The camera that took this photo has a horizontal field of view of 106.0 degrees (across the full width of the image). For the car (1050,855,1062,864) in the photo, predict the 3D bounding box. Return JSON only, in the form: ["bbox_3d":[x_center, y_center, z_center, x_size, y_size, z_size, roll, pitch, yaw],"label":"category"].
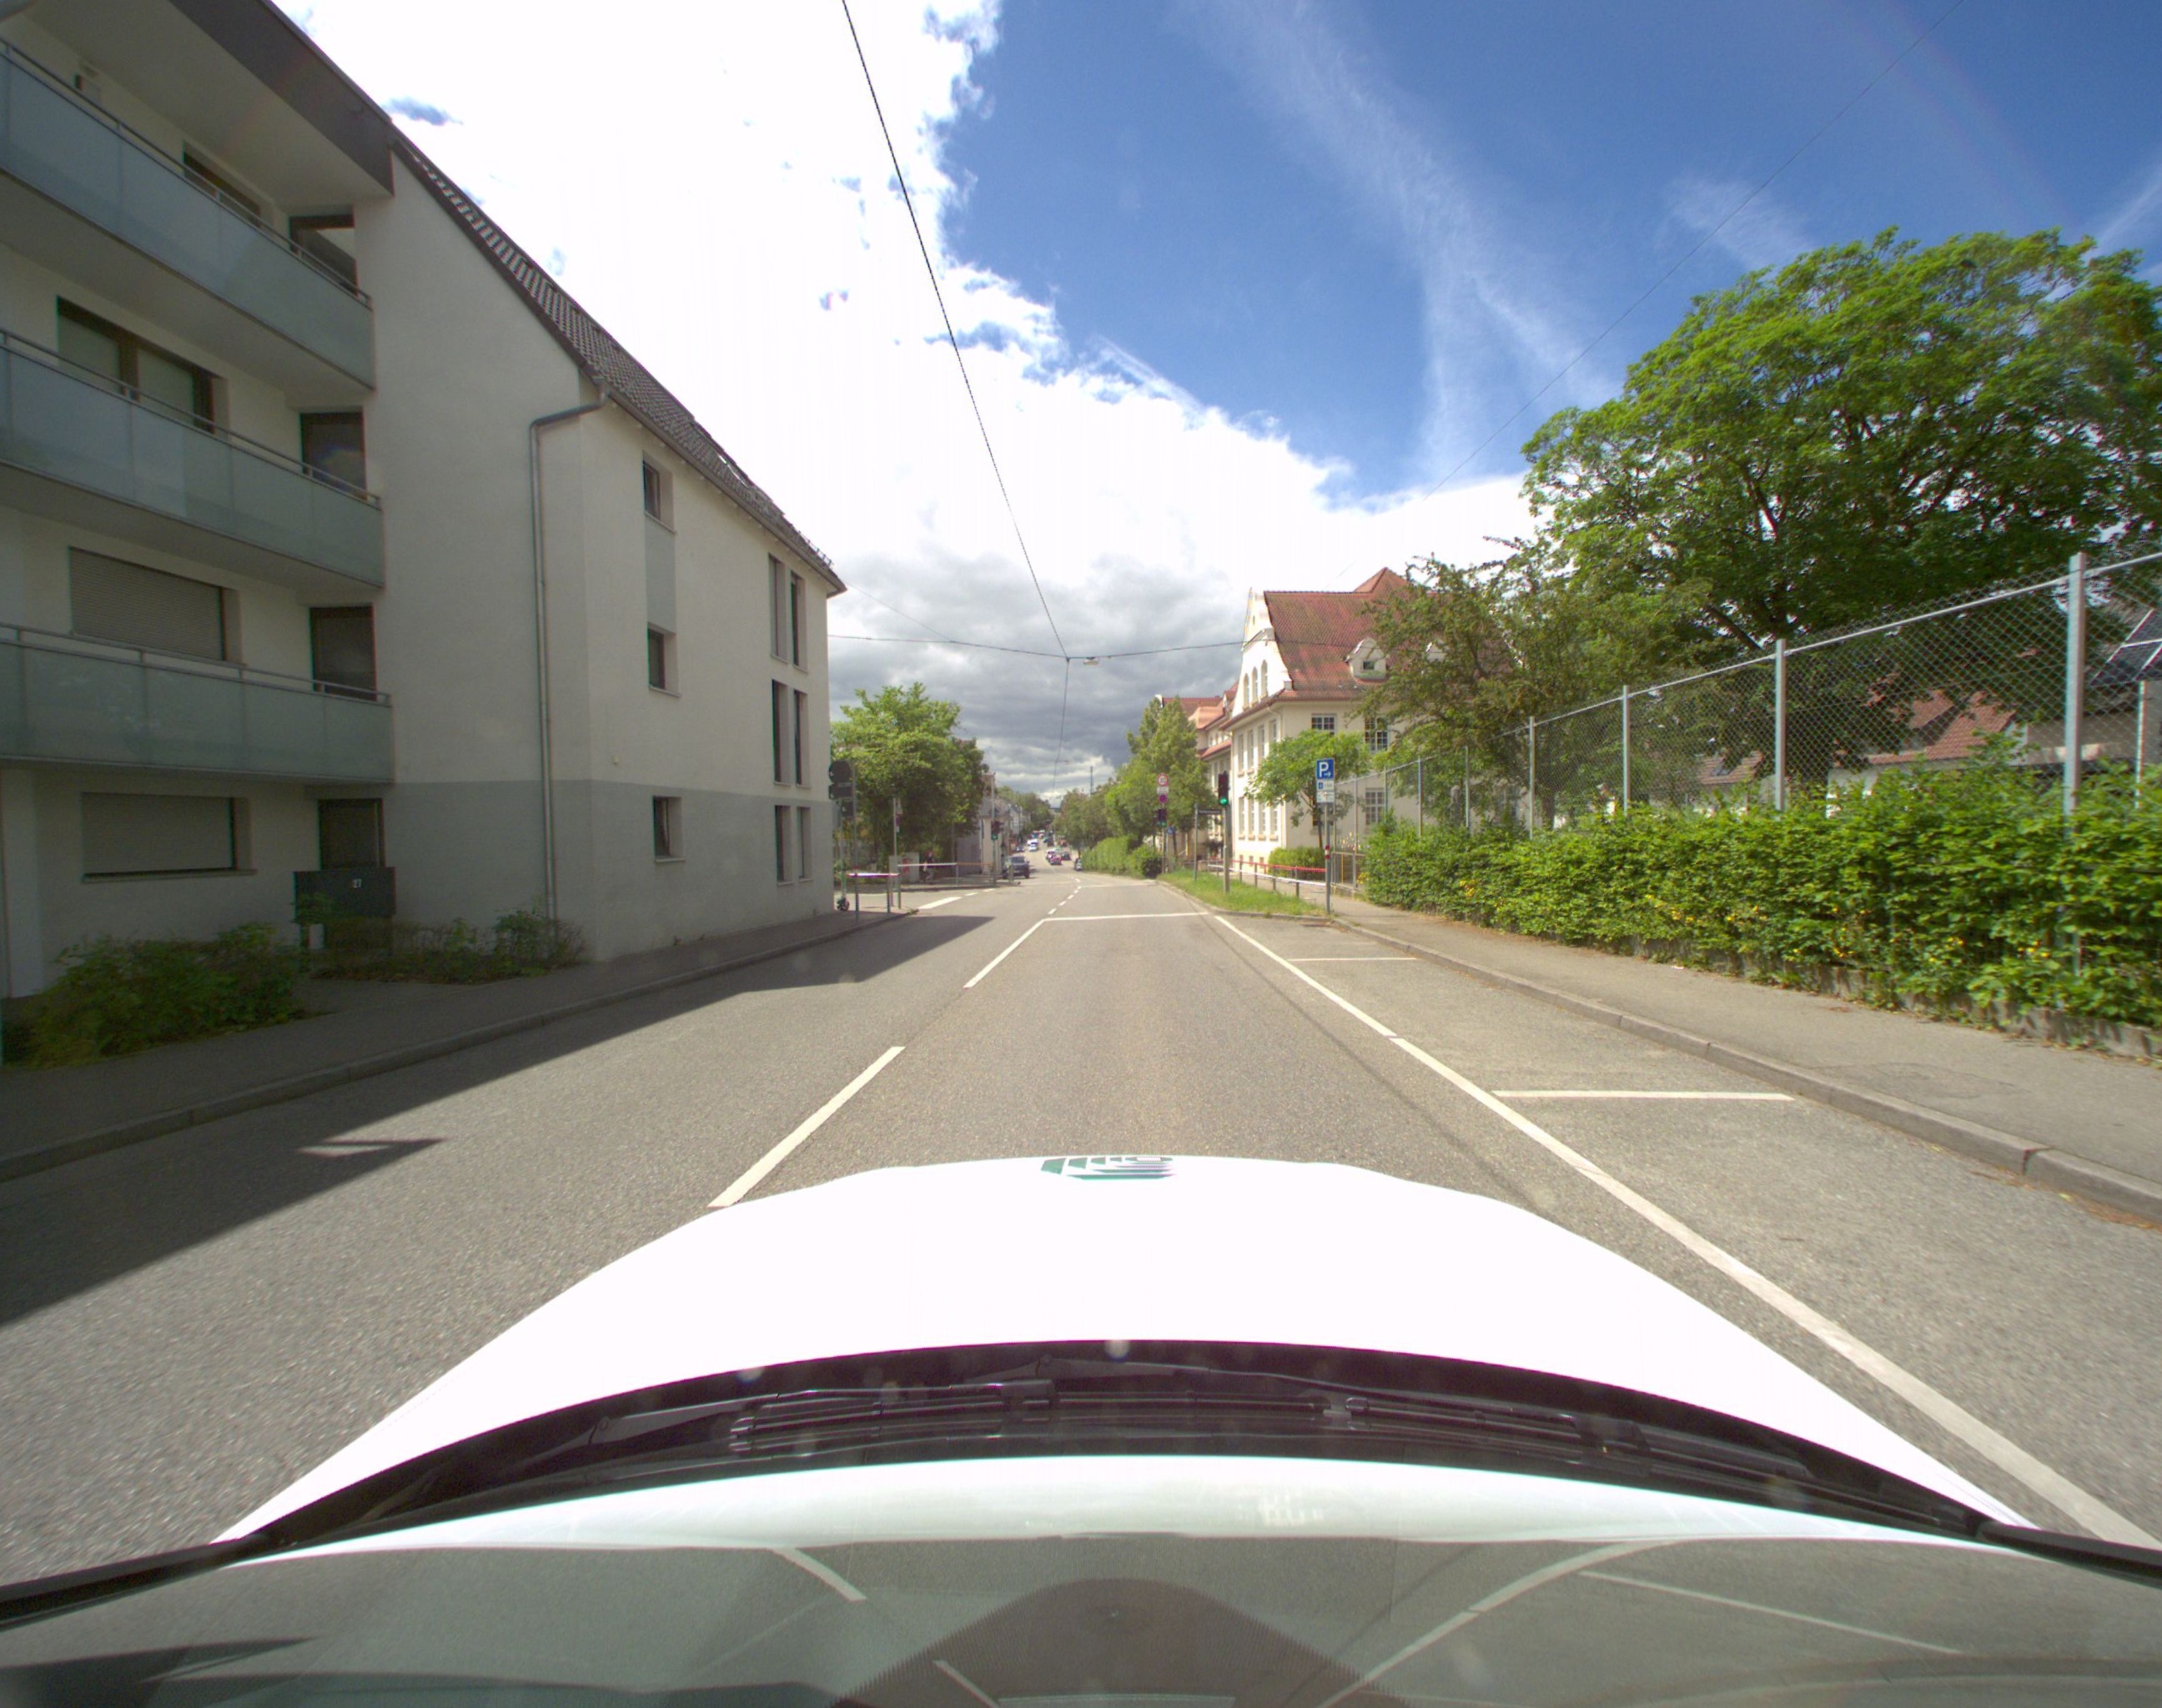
[{"bbox_3d":[-4.420,0.925,143.904,1.742,1.417,3.992,-2,0,-6],"label":"car"}]

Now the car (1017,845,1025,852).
[{"bbox_3d":[-14.698,-1.380,199.637,1.867,1.640,3.998,0,0,-1],"label":"car"}]

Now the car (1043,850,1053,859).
[{"bbox_3d":[-6.580,0.083,162.866,1.833,1.862,3.844,-1,0,-5],"label":"car"}]

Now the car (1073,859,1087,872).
[{"bbox_3d":[-0.192,1.682,119.303,1.840,1.767,4.509,-1,0,-3],"label":"car"}]

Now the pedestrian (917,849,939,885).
[{"bbox_3d":[-6.898,0.579,36.670,0.776,1.597,0.664,0,0,-36],"label":"pedestrian"}]

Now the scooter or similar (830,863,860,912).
[{"bbox_3d":[-6.465,0.900,22.292,0.492,1.261,1.295,-2,0,-28],"label":"scooter or similar"}]

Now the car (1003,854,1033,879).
[{"bbox_3d":[-4.311,0.854,56.435,1.790,1.610,4.643,-1,0,-1],"label":"car"}]

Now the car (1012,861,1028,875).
[{"bbox_3d":[-6.757,1.480,90.223,1.695,1.390,3.858,-1,1,-6],"label":"car"}]

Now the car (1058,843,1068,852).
[{"bbox_3d":[-3.991,-1.414,182.035,1.991,2.013,3.992,-1,0,-6],"label":"car"}]

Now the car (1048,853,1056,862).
[{"bbox_3d":[-5.516,0.699,153.942,1.272,1.527,3.045,-2,3,-6],"label":"car"}]

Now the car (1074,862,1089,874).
[{"bbox_3d":[0.040,1.933,113.314,1.782,1.509,4.359,-1,0,-3],"label":"car"}]

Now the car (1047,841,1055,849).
[{"bbox_3d":[-8.964,-2.632,243.388,2.431,2.318,5.320,-1,0,-3],"label":"car"}]

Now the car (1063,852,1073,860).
[{"bbox_3d":[-2.525,0.466,159.723,1.749,1.371,3.994,-1,-3,-3],"label":"car"}]
